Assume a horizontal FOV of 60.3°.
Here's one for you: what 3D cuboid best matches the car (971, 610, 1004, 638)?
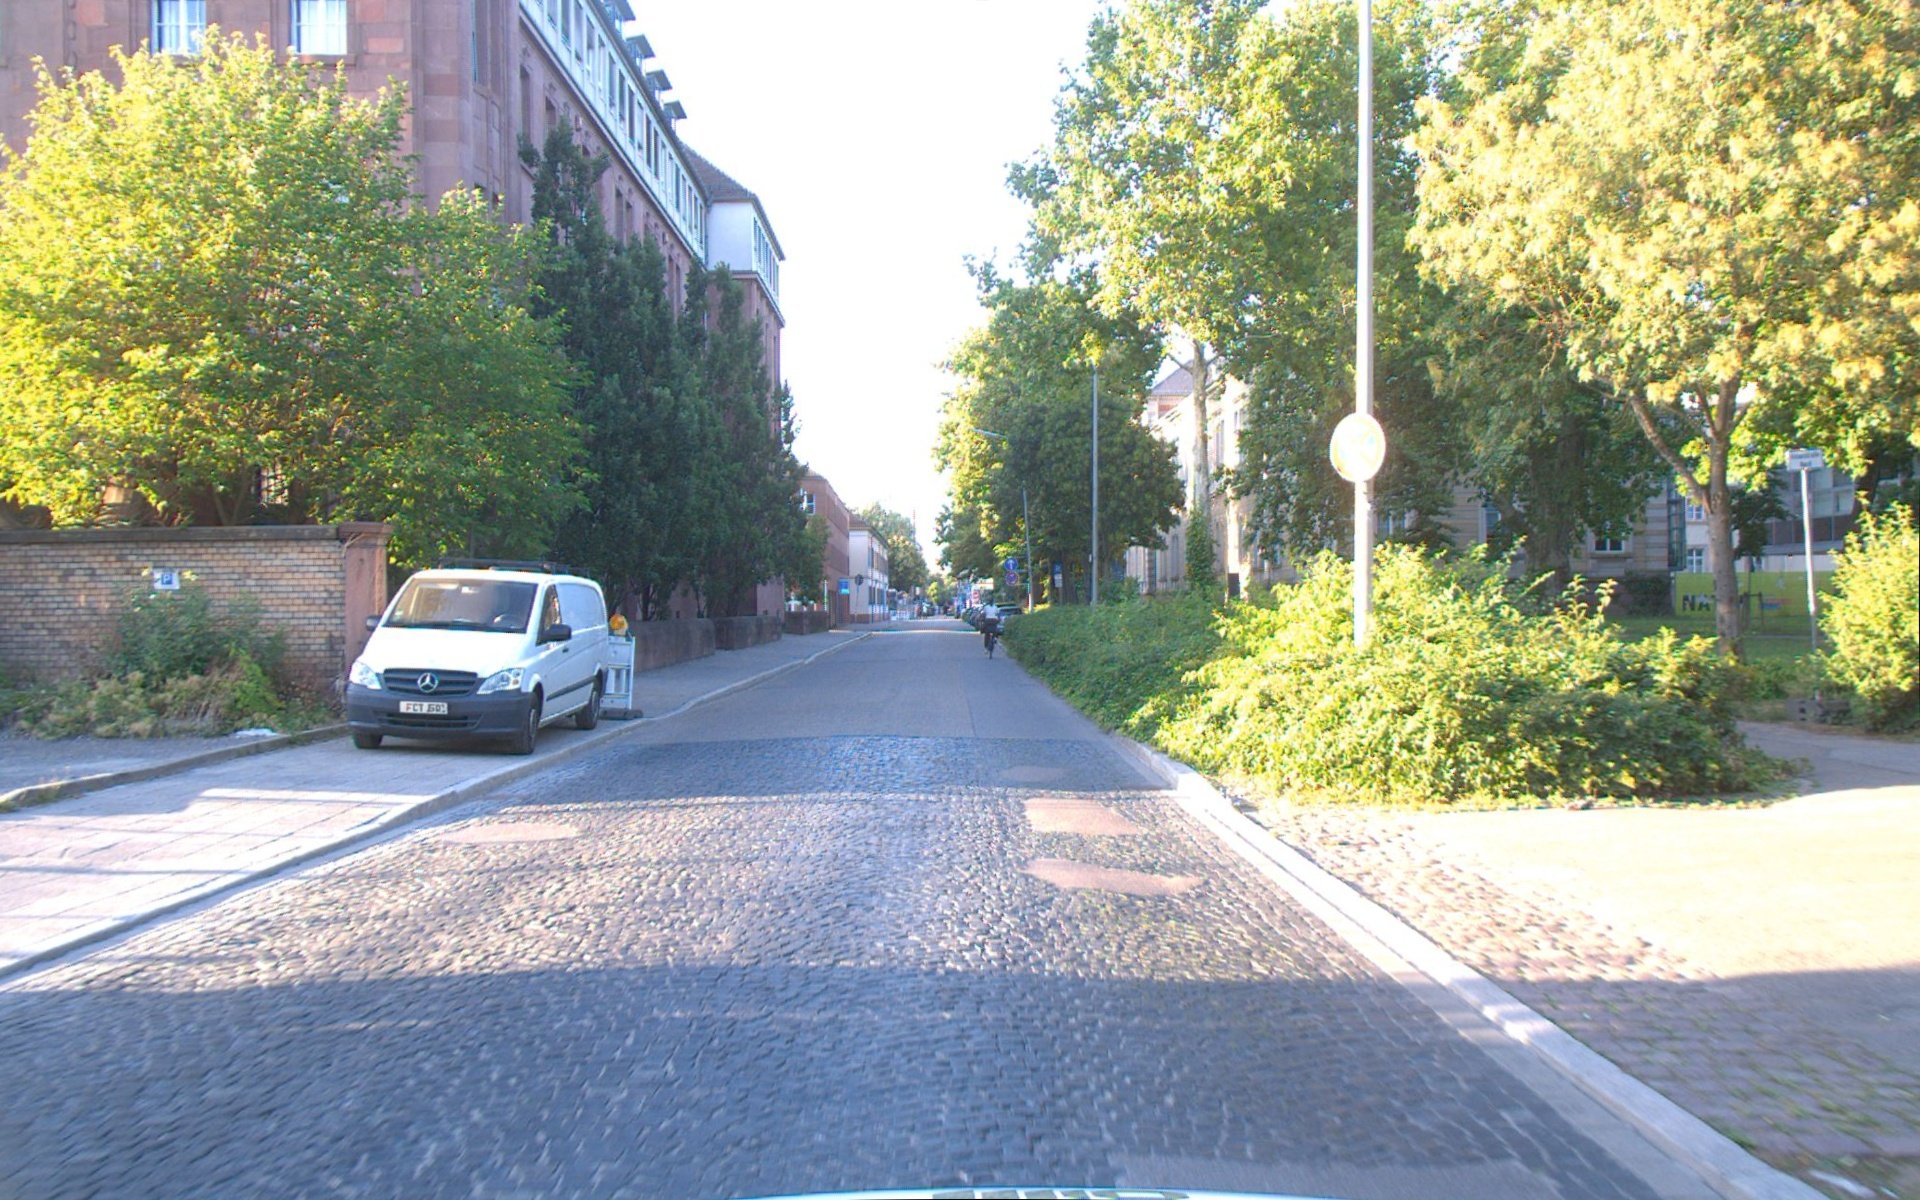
[{"bbox_3d":[1.796,1.545,107.926,1.953,1.736,3.998,-2,0,-2],"label":"car"}]

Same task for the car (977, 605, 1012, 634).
[{"bbox_3d":[1.890,1.073,92.046,1.681,1.565,4.046,-1,0,-2],"label":"car"}]

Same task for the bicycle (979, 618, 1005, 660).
[{"bbox_3d":[0.944,1.157,49.182,0.625,1.214,1.875,1,-1,-2],"label":"bicycle"}]

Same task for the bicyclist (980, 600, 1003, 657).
[{"bbox_3d":[0.940,0.846,49.246,0.626,1.696,0.842,1,-1,-2],"label":"bicyclist"}]

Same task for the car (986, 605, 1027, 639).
[{"bbox_3d":[2.175,1.081,78.362,1.652,1.472,3.669,-3,-1,-2],"label":"car"}]

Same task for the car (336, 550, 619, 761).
[{"bbox_3d":[-5.291,0.605,18.914,1.845,2.049,5.223,1,-1,-2],"label":"car"}]
